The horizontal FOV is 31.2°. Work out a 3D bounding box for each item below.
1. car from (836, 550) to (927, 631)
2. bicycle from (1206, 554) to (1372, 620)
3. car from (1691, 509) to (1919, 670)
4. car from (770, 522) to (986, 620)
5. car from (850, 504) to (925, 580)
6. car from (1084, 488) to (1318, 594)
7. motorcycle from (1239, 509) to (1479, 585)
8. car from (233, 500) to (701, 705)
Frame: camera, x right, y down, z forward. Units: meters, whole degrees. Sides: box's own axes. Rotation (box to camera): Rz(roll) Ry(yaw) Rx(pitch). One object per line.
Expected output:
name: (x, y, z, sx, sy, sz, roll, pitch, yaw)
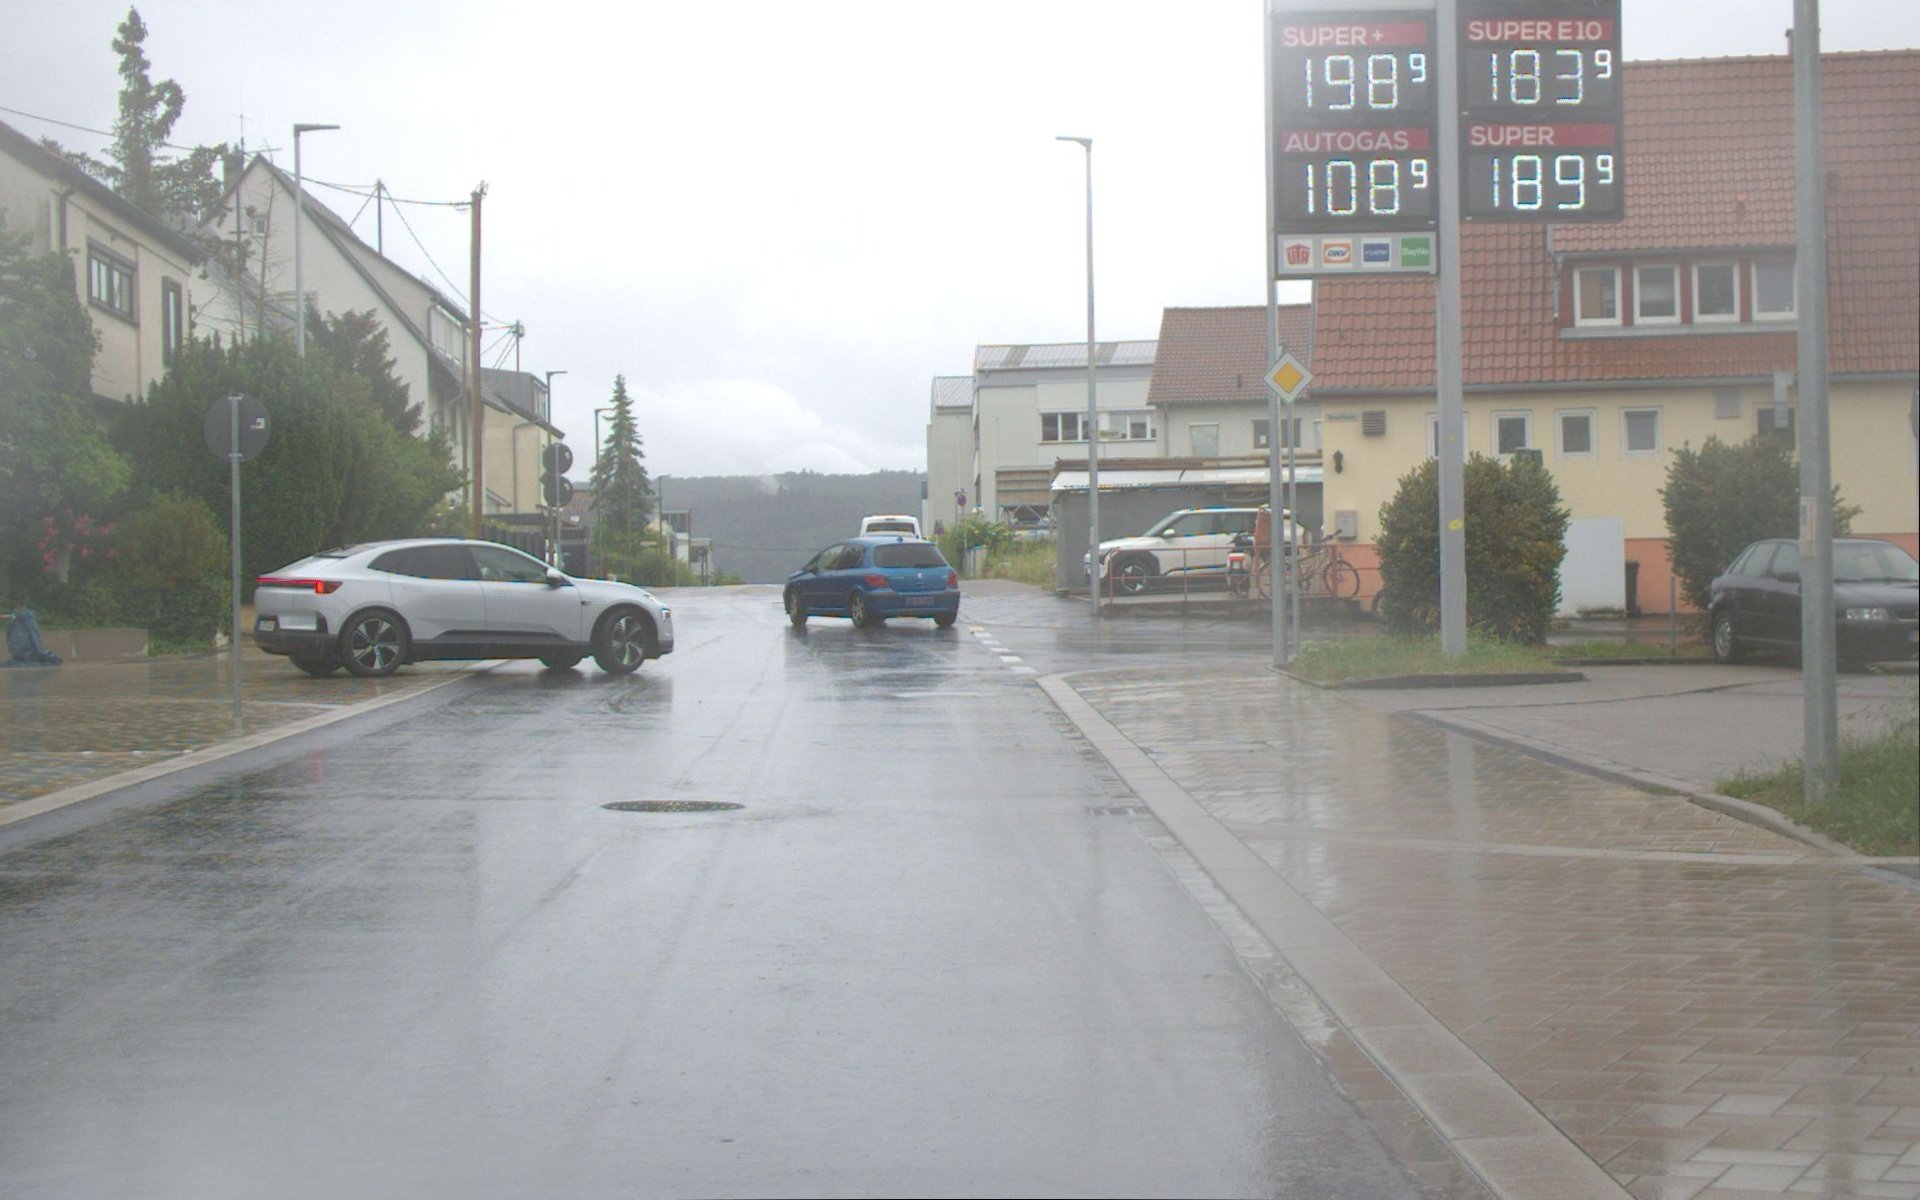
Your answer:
car: (-1.820, -0.203, 80.418, 1.993, 1.700, 4.000, 3, -1, -1)
bicycle: (5.522, -0.233, 58.050, 0.668, 1.063, 3.629, 4, -1, -32)
car: (9.618, -0.066, 36.740, 1.993, 1.547, 4.001, 3, -1, -12)
car: (-1.409, -0.489, 57.669, 1.851, 1.488, 4.000, 4, -1, -30)
car: (-1.818, -1.450, 87.172, 1.783, 1.700, 4.000, 3, -1, -1)
car: (4.507, -1.091, 64.669, 4.112, 1.700, 1.789, 3, -1, -3)
motorcycle: (6.971, -0.936, 60.172, 3.993, 1.149, 1.092, 2, -1, 27)
car: (-5.571, 0.051, 38.991, 4.752, 2.007, 2.000, 4, -1, -29)
